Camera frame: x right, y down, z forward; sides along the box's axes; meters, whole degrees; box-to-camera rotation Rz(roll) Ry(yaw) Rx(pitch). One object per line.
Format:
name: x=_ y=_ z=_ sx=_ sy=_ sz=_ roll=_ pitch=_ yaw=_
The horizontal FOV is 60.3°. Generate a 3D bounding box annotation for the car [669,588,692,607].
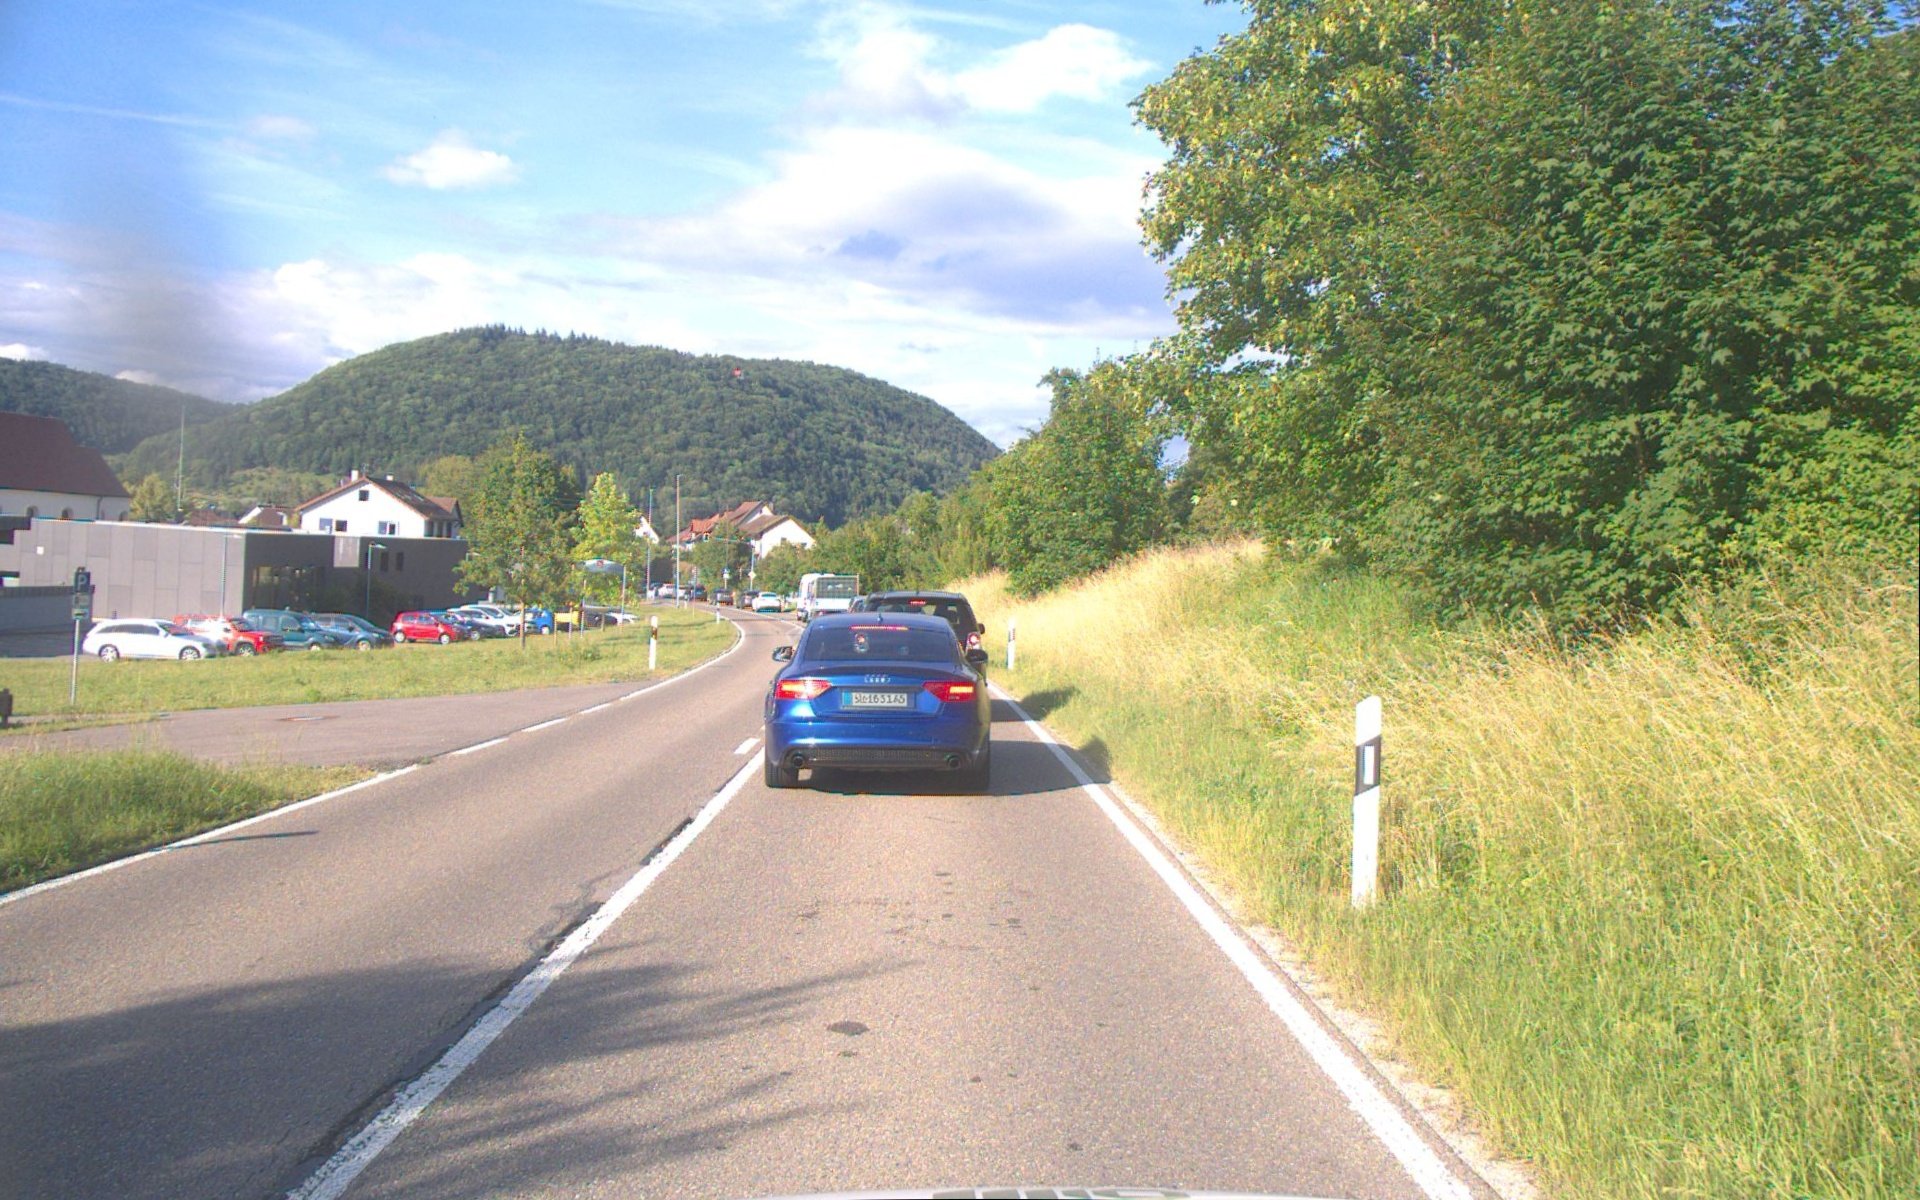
car: x=-29.529 y=-0.220 z=174.558 sx=1.652 sy=1.958 sz=3.976 roll=0 pitch=0 yaw=-20

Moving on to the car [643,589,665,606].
car: x=-35.209 y=-0.254 z=190.209 sx=1.926 sy=1.958 sz=3.976 roll=0 pitch=0 yaw=-20

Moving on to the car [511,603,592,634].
car: x=-25.199 y=1.147 z=102.106 sx=4.457 sy=1.846 sz=1.842 roll=-1 pitch=0 yaw=3

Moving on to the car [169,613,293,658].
car: x=-27.109 y=1.306 z=61.557 sx=3.838 sy=1.606 sz=1.756 roll=0 pitch=0 yaw=2

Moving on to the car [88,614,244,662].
car: x=-28.094 y=1.332 z=58.593 sx=4.544 sy=1.616 sz=2.001 roll=-1 pitch=0 yaw=2

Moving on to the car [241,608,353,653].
car: x=-26.903 y=1.230 z=67.193 sx=3.782 sy=1.752 sz=1.756 roll=1 pitch=0 yaw=0

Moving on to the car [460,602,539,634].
car: x=-26.029 y=1.015 z=93.556 sx=3.991 sy=1.702 sz=1.597 roll=-1 pitch=0 yaw=3

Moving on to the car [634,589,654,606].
car: x=-37.891 y=-0.312 z=198.148 sx=1.653 sy=1.958 sz=3.975 roll=0 pitch=0 yaw=-21

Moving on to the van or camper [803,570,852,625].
van or camper: x=-7.006 y=-0.133 z=87.022 sx=2.238 sy=2.761 sz=5.757 roll=0 pitch=0 yaw=-7

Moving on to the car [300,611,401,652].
car: x=-26.436 y=1.368 z=71.821 sx=3.738 sy=1.752 sz=1.732 roll=0 pitch=0 yaw=2

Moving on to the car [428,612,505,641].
car: x=-25.913 y=1.377 z=86.940 sx=3.548 sy=1.429 sz=1.597 roll=-1 pitch=0 yaw=3

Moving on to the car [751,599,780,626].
car: x=-14.300 y=0.893 z=121.293 sx=1.631 sy=1.958 sz=3.986 roll=0 pitch=0 yaw=-14

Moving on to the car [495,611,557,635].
car: x=-26.101 y=1.388 z=99.508 sx=3.303 sy=1.397 sz=1.659 roll=-1 pitch=0 yaw=-4

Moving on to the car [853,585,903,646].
car: x=-2.894 y=0.517 z=57.986 sx=1.537 sy=2.049 sz=3.995 roll=0 pitch=0 yaw=-6

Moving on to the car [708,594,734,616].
car: x=-21.638 y=0.450 z=149.452 sx=1.634 sy=1.958 sz=3.979 roll=0 pitch=0 yaw=-18

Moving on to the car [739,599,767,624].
car: x=-16.643 y=0.941 z=132.739 sx=1.632 sy=1.958 sz=3.983 roll=0 pitch=0 yaw=-16

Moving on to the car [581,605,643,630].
car: x=-24.519 y=1.205 z=116.691 sx=3.951 sy=1.689 sz=1.656 roll=-1 pitch=0 yaw=3

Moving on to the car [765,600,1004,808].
car: x=-0.570 y=0.765 z=13.850 sx=1.707 sy=1.476 sz=3.516 roll=2 pitch=0 yaw=-1

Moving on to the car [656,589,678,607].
car: x=-32.333 y=-0.212 z=182.386 sx=1.653 sy=1.958 sz=3.975 roll=0 pitch=0 yaw=-21

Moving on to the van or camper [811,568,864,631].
van or camper: x=-5.217 y=-0.024 z=69.803 sx=2.013 sy=2.549 sz=5.803 roll=0 pitch=0 yaw=-7

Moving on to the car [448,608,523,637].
car: x=-25.885 y=1.204 z=90.297 sx=3.589 sy=1.520 sz=1.597 roll=-1 pitch=0 yaw=3

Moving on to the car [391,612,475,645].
car: x=-26.088 y=1.402 z=81.924 sx=3.548 sy=1.469 sz=1.649 roll=1 pitch=1 yaw=3

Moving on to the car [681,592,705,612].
car: x=-26.692 y=0.193 z=165.500 sx=1.652 sy=1.958 sz=3.976 roll=0 pitch=0 yaw=-20

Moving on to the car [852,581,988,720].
car: x=-0.589 y=0.615 z=21.848 sx=1.613 sy=1.653 sz=3.514 roll=2 pitch=0 yaw=-4
